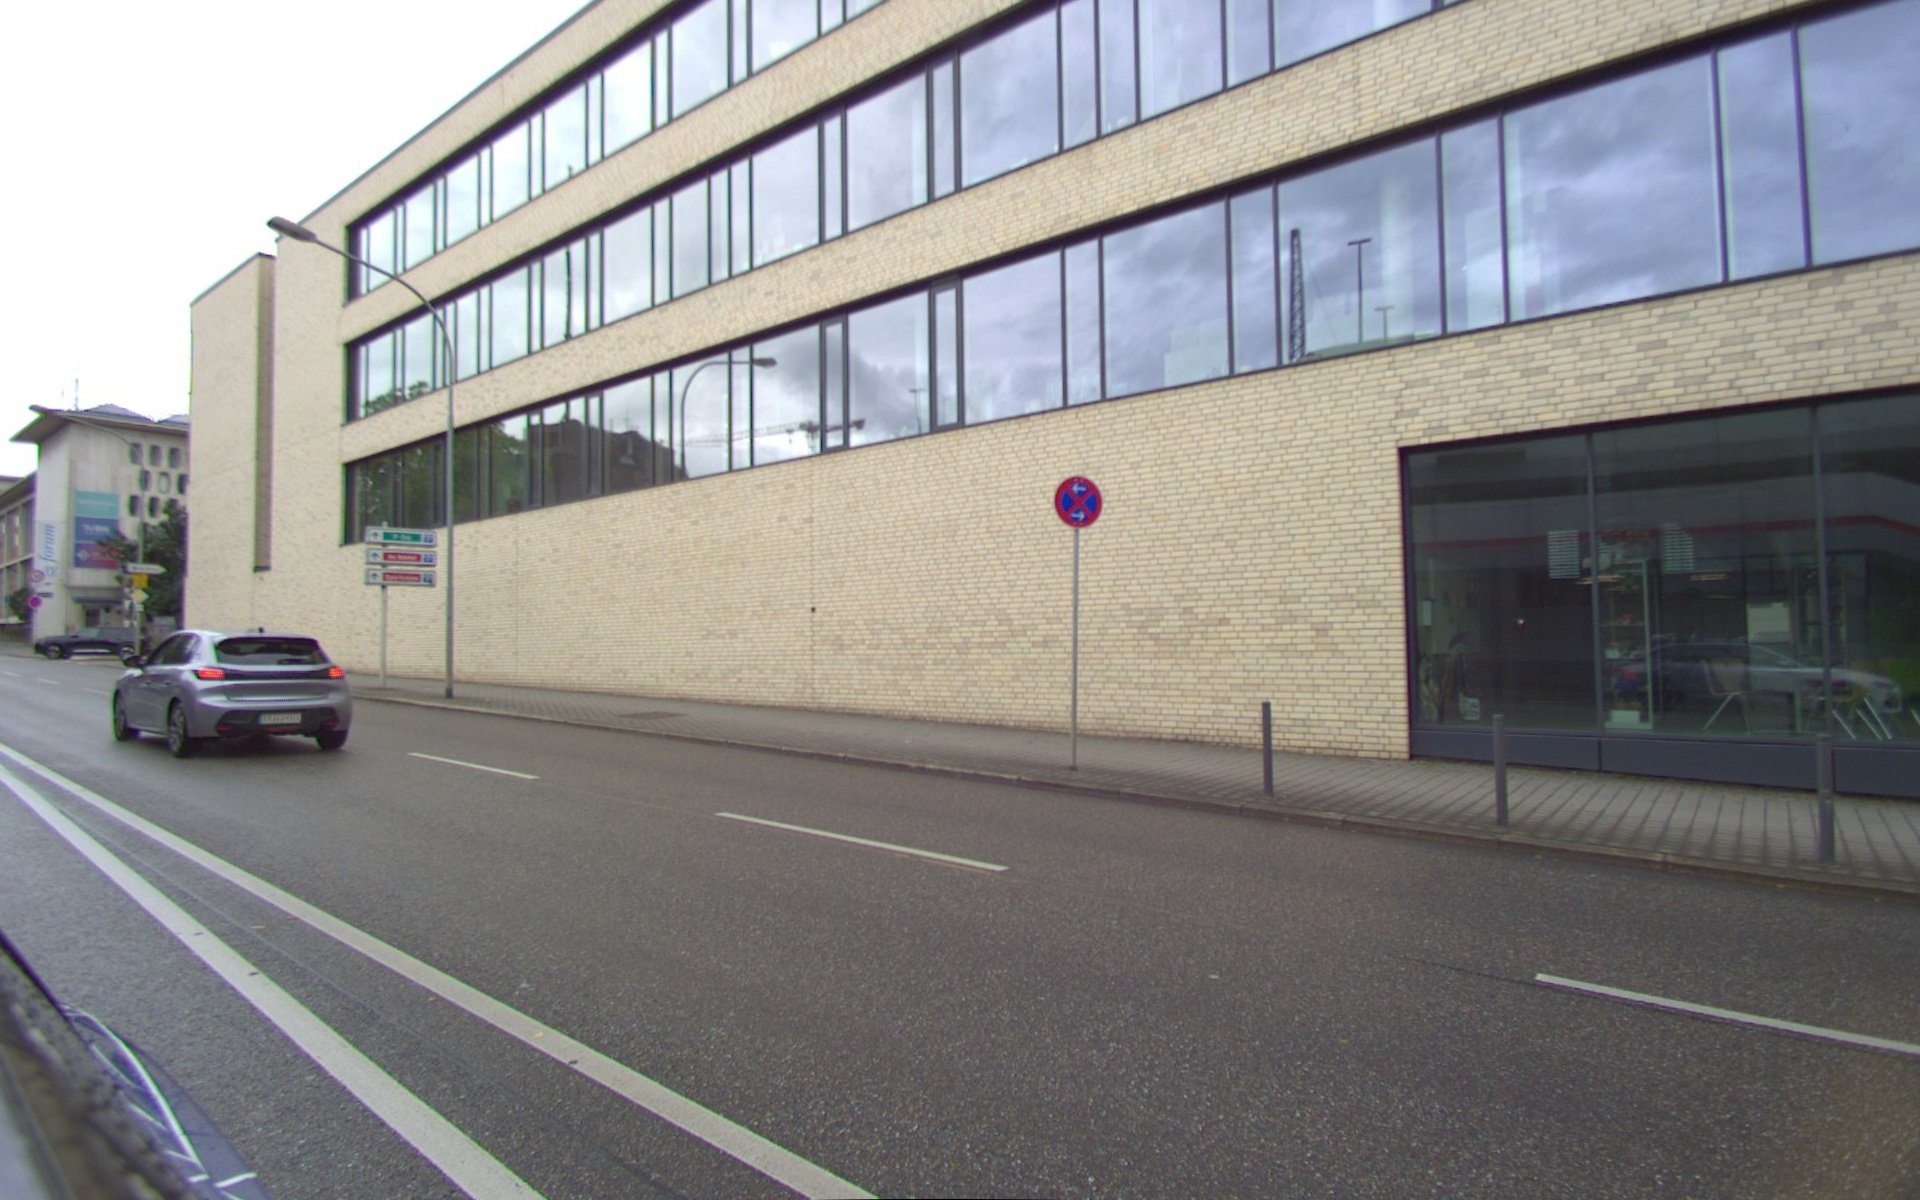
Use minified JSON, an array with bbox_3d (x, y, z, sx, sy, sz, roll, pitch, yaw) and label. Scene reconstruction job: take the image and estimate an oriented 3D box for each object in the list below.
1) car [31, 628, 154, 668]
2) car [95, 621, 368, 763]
[{"bbox_3d":[-39.404,2.160,46.098,3.931,1.674,1.867,0,-1,-29],"label":"car"},{"bbox_3d":[-9.012,1.025,12.427,3.878,1.481,1.724,-1,-4,39],"label":"car"}]
